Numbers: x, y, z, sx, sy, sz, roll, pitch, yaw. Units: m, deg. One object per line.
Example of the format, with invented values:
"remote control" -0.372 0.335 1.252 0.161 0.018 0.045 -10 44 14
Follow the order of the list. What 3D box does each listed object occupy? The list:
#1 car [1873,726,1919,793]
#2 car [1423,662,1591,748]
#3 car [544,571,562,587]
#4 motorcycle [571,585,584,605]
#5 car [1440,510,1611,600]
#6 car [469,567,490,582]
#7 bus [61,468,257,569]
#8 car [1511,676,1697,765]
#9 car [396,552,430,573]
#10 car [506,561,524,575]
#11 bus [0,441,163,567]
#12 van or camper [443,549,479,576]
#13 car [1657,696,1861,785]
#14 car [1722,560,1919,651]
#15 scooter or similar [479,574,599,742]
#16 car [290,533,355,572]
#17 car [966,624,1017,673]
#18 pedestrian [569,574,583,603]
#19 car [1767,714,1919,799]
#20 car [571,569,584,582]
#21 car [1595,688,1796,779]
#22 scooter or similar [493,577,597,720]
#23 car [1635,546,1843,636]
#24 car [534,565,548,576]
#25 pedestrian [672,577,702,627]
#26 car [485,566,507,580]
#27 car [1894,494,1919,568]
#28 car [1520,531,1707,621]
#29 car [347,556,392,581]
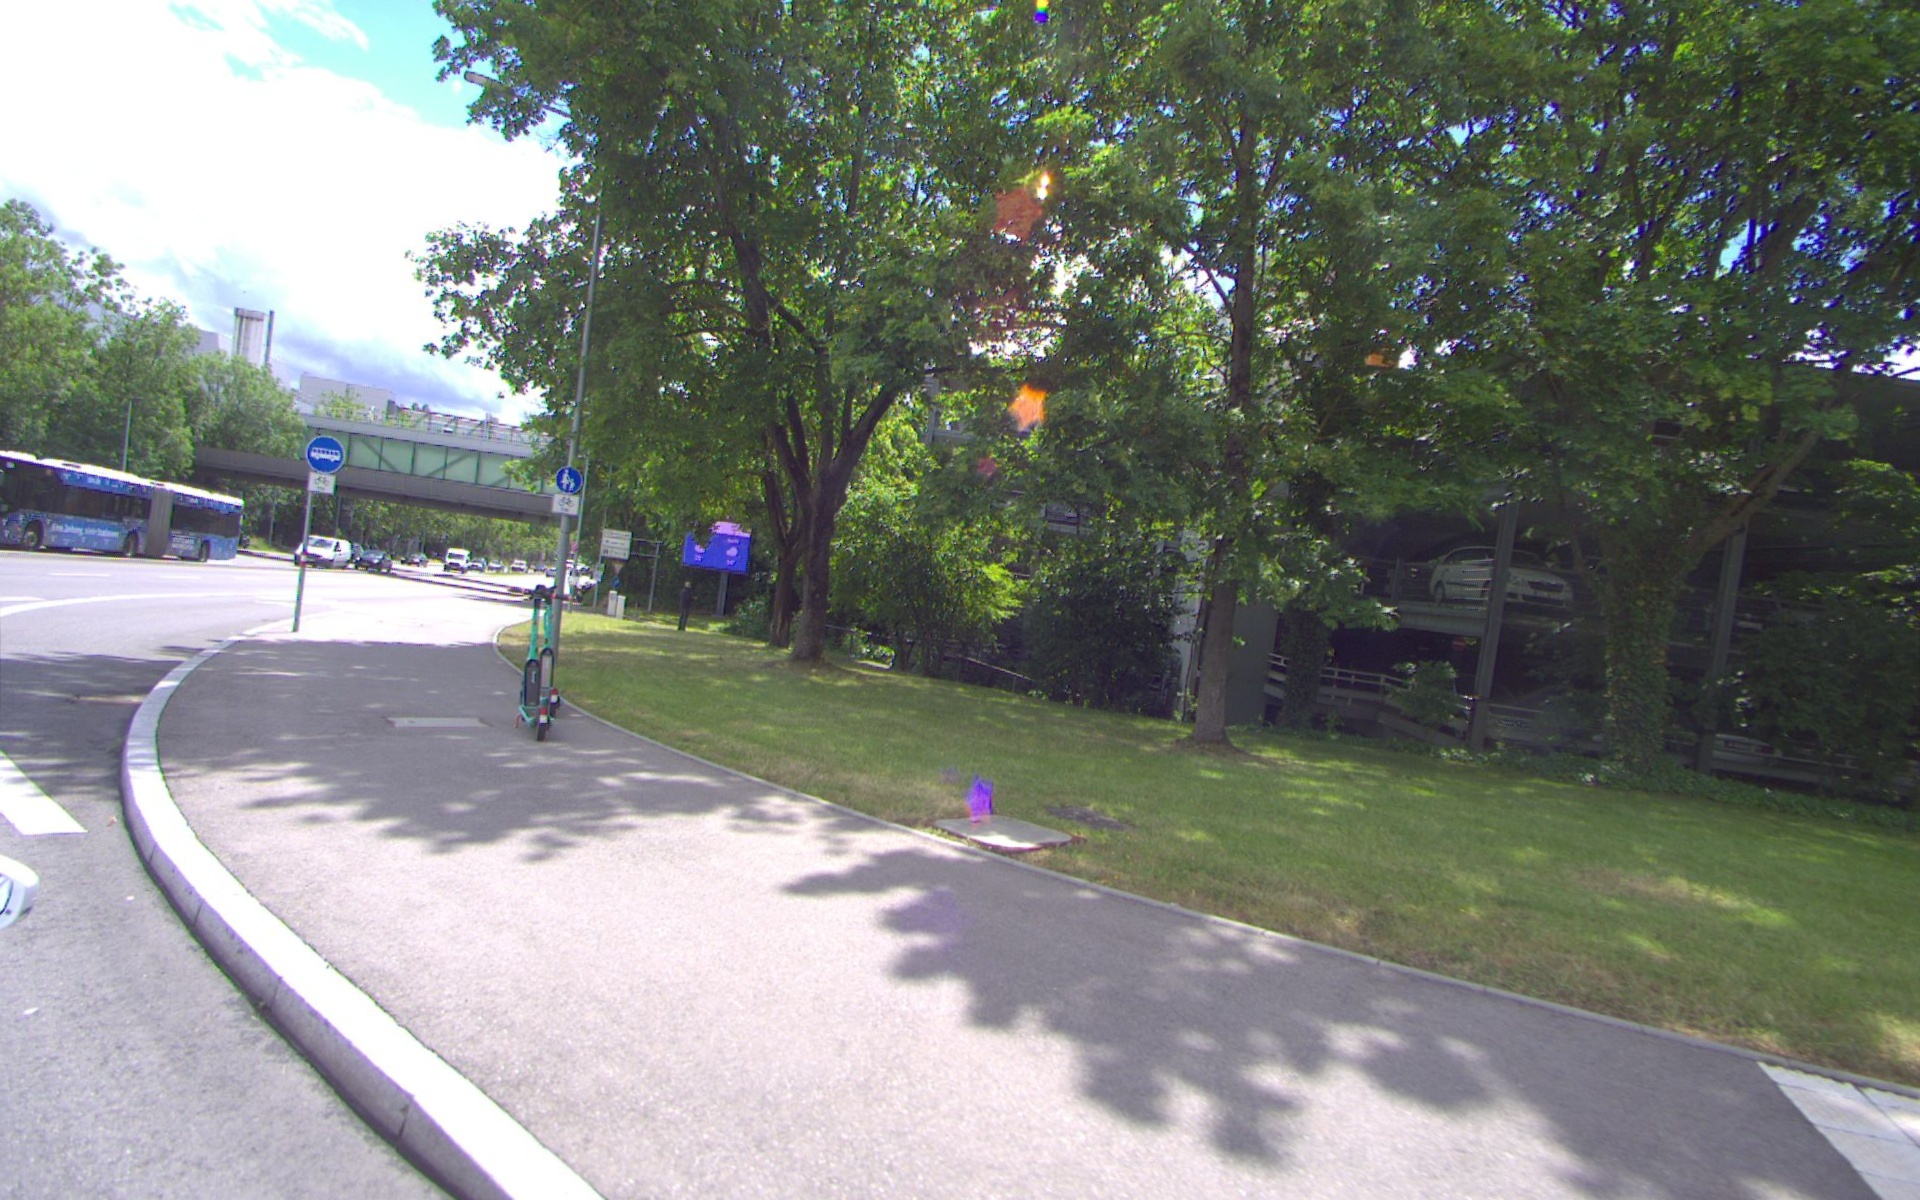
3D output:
"car" 23.021 3.888 22.455 1.744 1.409 3.797 9 1 3
"car" 12.275 2.307 22.874 1.744 1.308 3.797 9 1 3
"car" -60.438 -3.101 149.286 1.907 1.795 3.981 8 3 -17
"motorcycle" -23.603 -0.302 62.104 0.541 1.123 2.010 7 -1 -20
"car" 12.536 -0.935 22.585 1.696 1.560 3.703 11 1 4
"car" -58.352 -3.106 122.240 1.681 1.539 3.064 8 -1 -17
"bus" -32.816 -3.145 41.796 2.782 3.201 8.880 8 -1 -15
"car" 14.444 2.646 22.836 1.744 1.308 3.797 9 1 3
"car" -58.186 -3.997 107.135 1.967 1.770 3.993 7 -2 -12
"car" -67.327 -4.853 152.141 1.680 1.718 3.913 8 -1 -15
"bus" -30.240 -3.106 32.664 2.782 3.322 10.092 8 -2 -15
"van or camper" -52.915 -3.919 106.777 1.984 2.429 6.380 8 -1 -16
"car" 18.620 3.218 23.690 1.744 1.308 3.797 9 1 3
"car" 19.206 0.116 22.320 1.696 1.560 3.703 11 1 4
"scooter or similar" -3.595 0.469 8.550 0.530 1.280 1.177 5 0 -40
"car" -38.470 -2.822 60.833 1.855 1.947 4.735 8 -1 -16
"car" 1.279 1.861 39.821 1.744 1.490 3.797 9 1 3
"pedestrian" -26.011 -0.763 68.183 0.616 1.880 0.869 7 -1 -18
"car" 20.708 3.585 22.780 1.744 1.308 3.797 9 1 3
"car" -68.938 -4.384 181.324 1.836 1.729 3.978 7 4 -18
"car" 16.494 2.946 22.828 1.744 1.308 3.797 9 1 3
"scooter or similar" -4.141 0.464 10.000 0.530 1.280 1.177 5 0 -40
"car" 17.320 -0.192 22.624 1.696 1.560 3.703 11 1 4
"car" -74.698 -5.309 179.460 1.681 1.718 3.910 8 -1 -17
"pedestrian" -10.068 0.076 37.076 0.586 1.741 0.764 5 5 -44
"car" -63.384 -3.673 137.484 1.970 1.681 3.988 8 -2 -16
"car" 23.766 -1.669 22.632 1.833 1.681 4.004 7 -2 5
"car" 14.460 -0.494 22.543 1.696 1.560 3.703 11 1 4
"car" -42.311 -2.206 72.151 1.617 1.488 3.765 8 -1 -15
